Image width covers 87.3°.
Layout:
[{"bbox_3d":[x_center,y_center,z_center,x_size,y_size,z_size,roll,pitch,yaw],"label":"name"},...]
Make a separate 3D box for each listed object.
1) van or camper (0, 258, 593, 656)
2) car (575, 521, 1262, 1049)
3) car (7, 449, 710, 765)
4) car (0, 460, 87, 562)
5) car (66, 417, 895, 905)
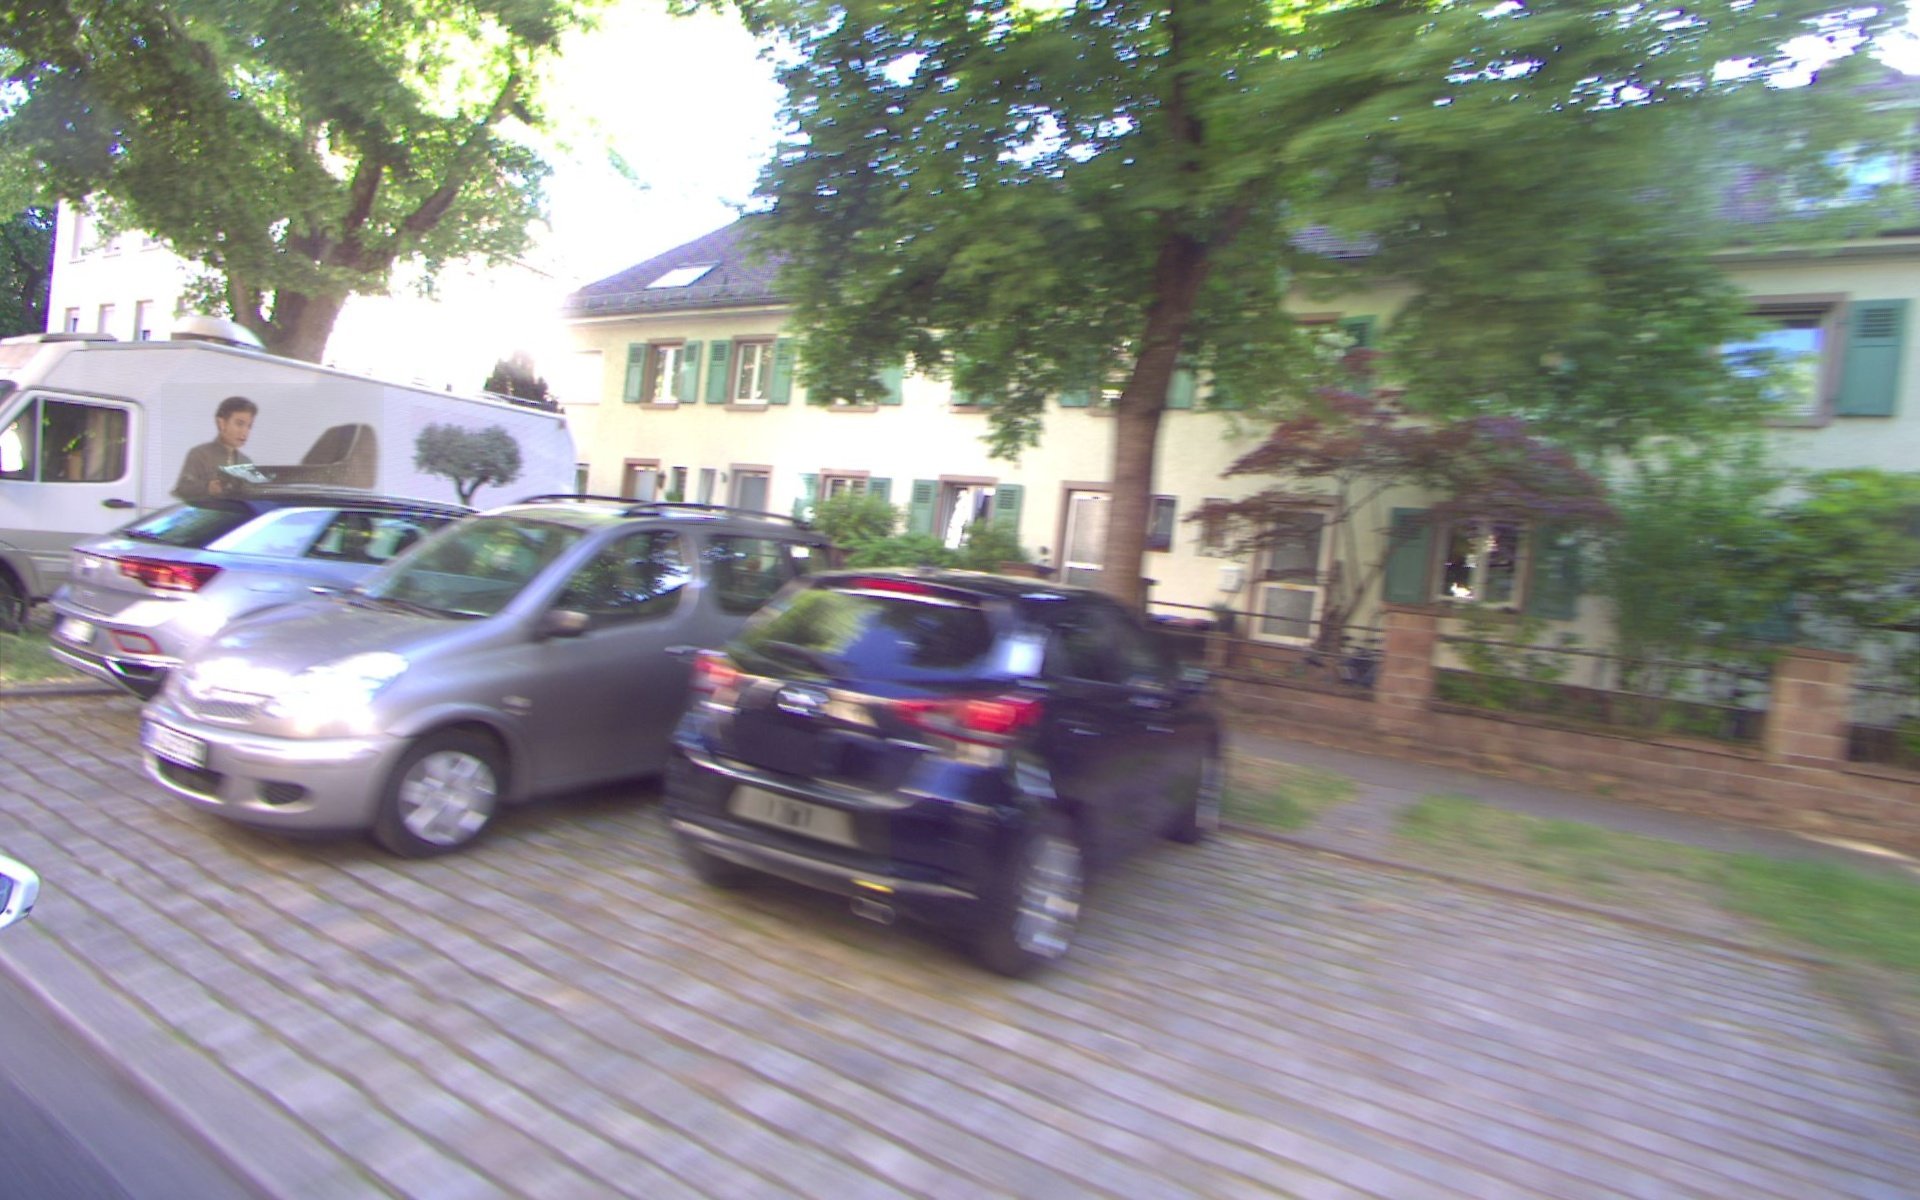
[{"bbox_3d":[-7.695,-1.156,10.611,2.422,3.116,7.087,8,1,29],"label":"van or camper"},{"bbox_3d":[0.230,0.573,5.163,1.756,1.492,3.880,7,2,26],"label":"car"},{"bbox_3d":[-4.026,0.003,7.356,1.873,1.620,3.959,7,3,34],"label":"car"},{"bbox_3d":[-16.224,-1.567,15.658,1.650,1.525,3.591,8,2,32],"label":"car"},{"bbox_3d":[-2.256,0.188,5.746,1.700,1.768,3.914,7,3,31],"label":"car"}]
